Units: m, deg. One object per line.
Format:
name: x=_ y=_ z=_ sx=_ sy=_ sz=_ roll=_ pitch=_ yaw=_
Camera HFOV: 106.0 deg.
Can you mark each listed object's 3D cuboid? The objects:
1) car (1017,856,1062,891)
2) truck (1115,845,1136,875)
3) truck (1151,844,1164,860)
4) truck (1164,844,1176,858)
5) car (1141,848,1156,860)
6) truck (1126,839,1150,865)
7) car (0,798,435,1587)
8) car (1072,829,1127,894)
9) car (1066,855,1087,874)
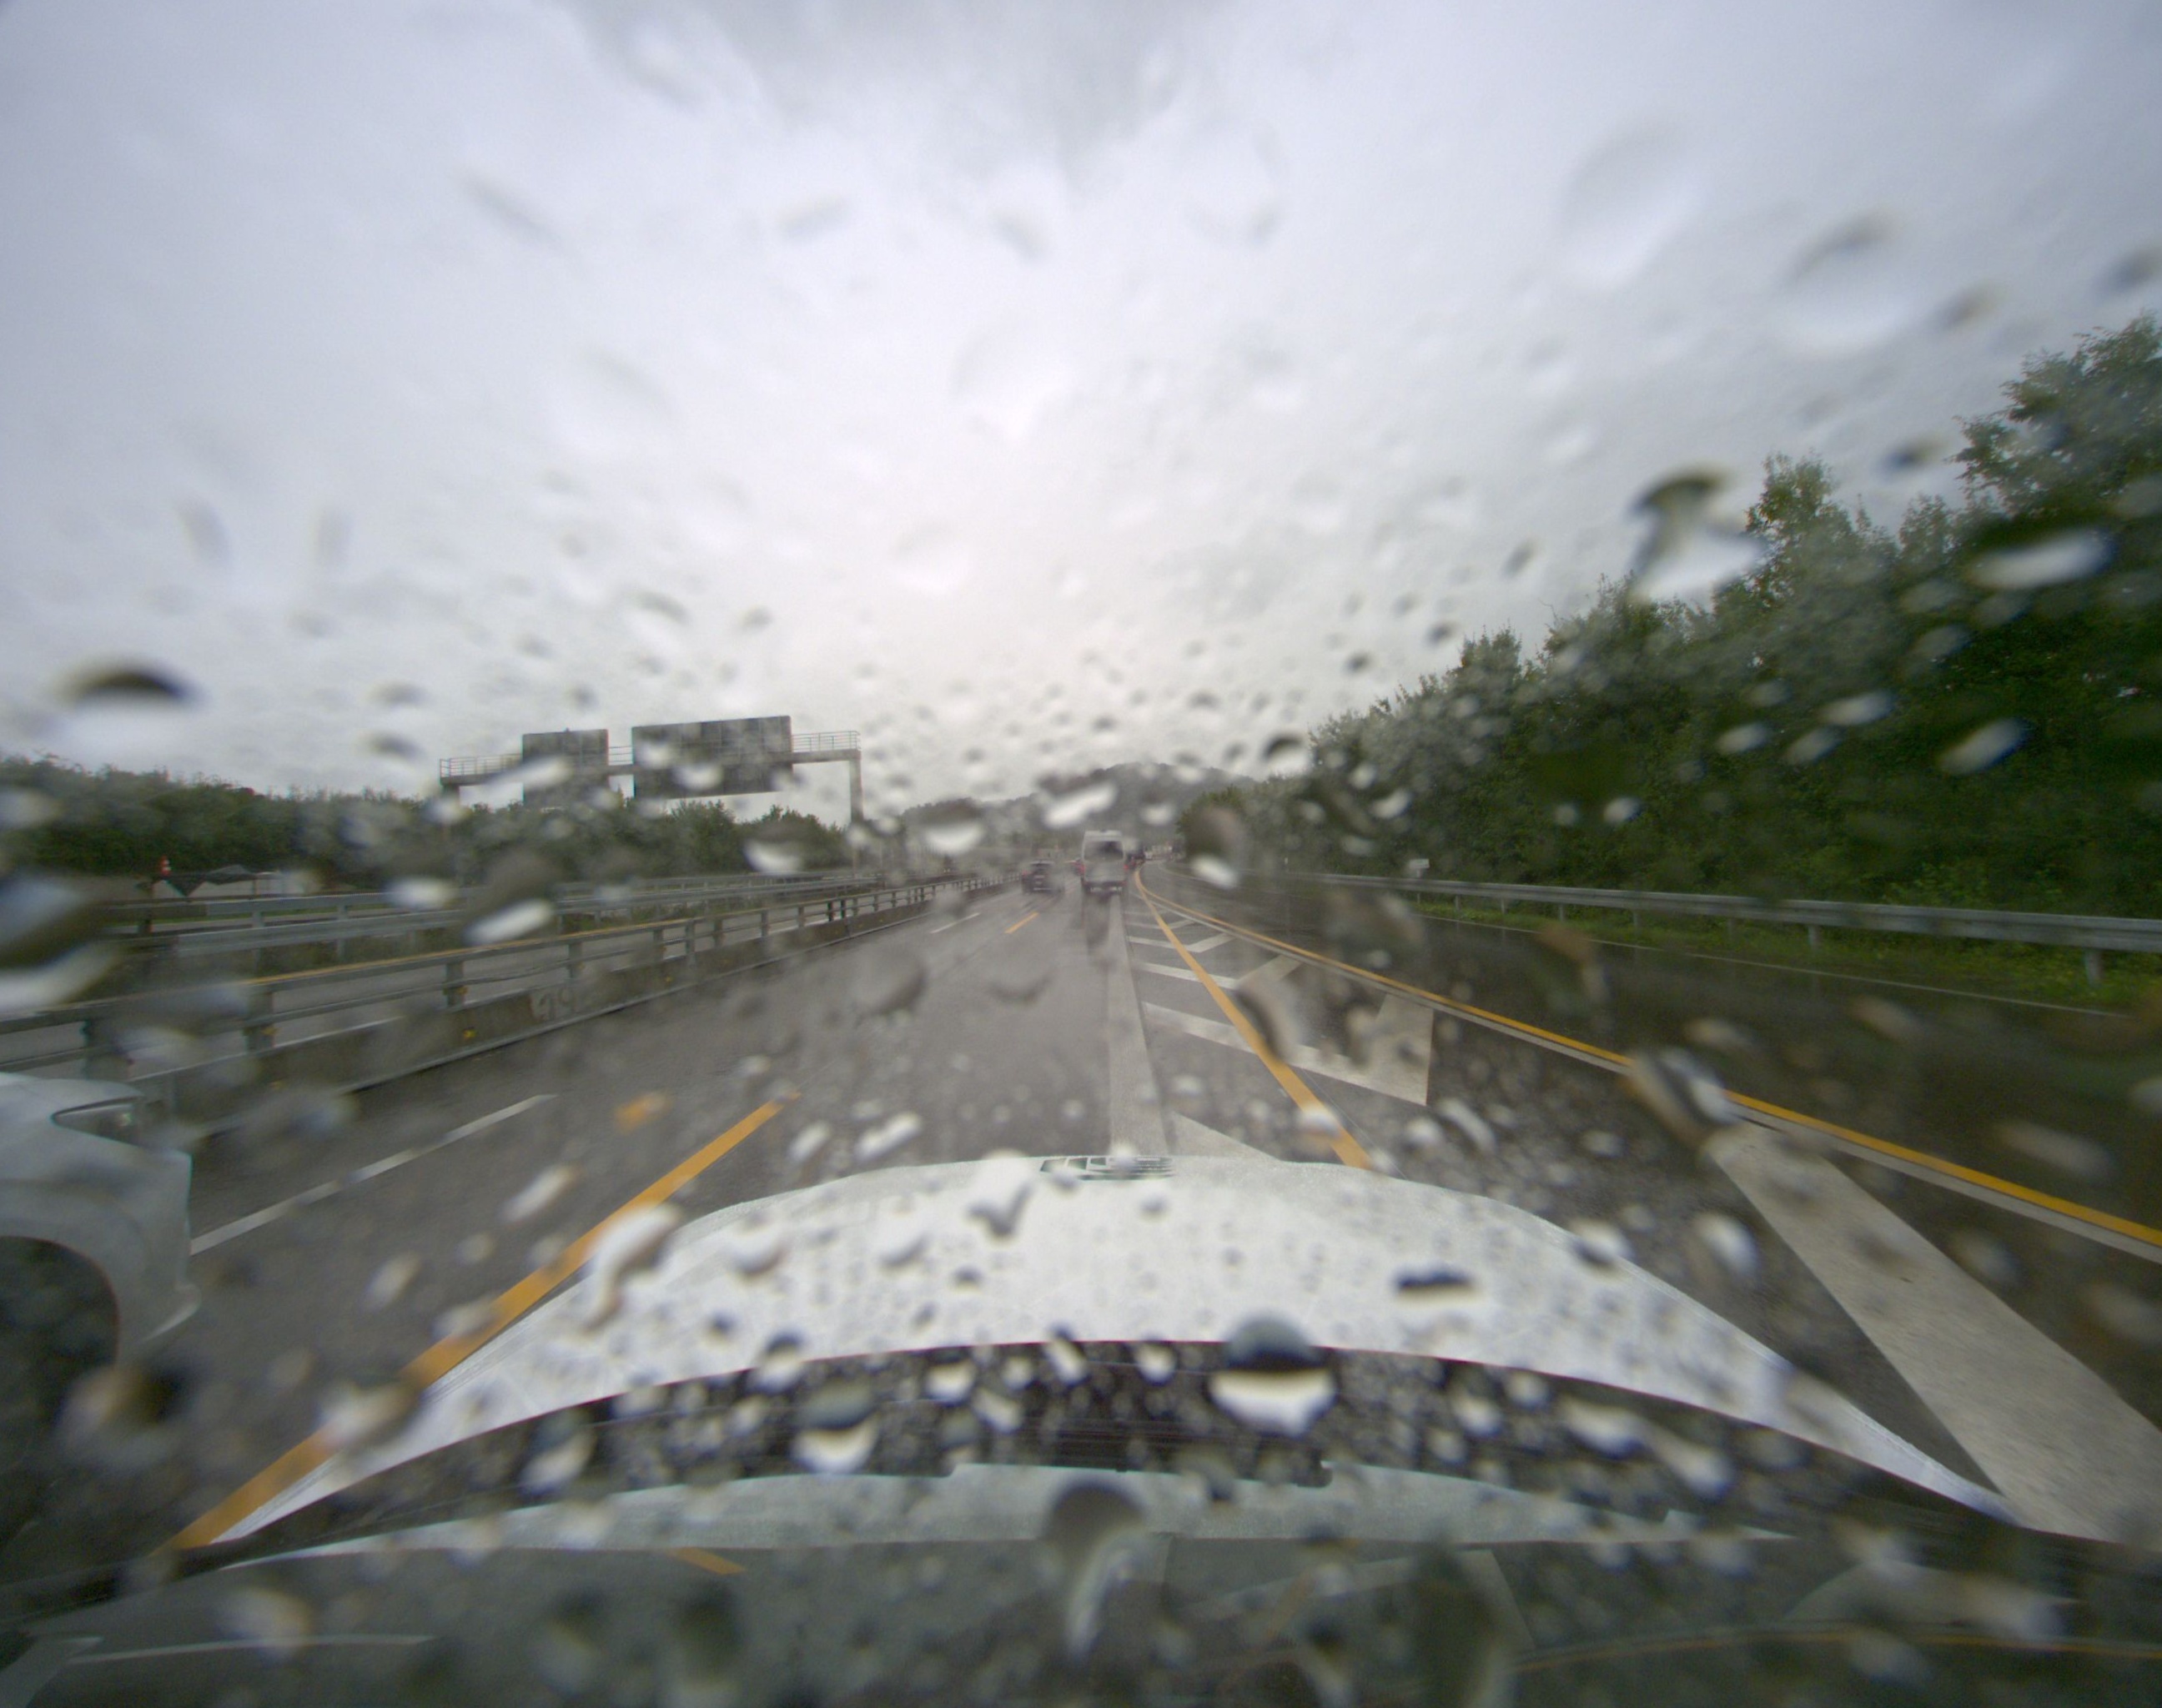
car: x=-1.898 y=0.885 z=38.328 sx=1.941 sy=1.561 sz=3.998 roll=-1 pitch=-1 yaw=-1
truck: x=4.963 y=0.665 z=89.411 sx=1.984 sy=3.109 sz=8.510 roll=-1 pitch=-1 yaw=5
truck: x=21.363 y=-0.445 z=226.665 sx=3.018 sy=4.406 sz=9.648 roll=-1 pitch=-1 yaw=9
truck: x=28.543 y=-0.845 z=261.773 sx=2.879 sy=4.406 sz=9.654 roll=-1 pitch=-1 yaw=12
car: x=15.628 y=0.037 z=187.900 sx=2.880 sy=2.887 sz=6.431 roll=-1 pitch=-1 yaw=11
truck: x=9.923 y=-0.271 z=141.530 sx=3.562 sy=4.406 sz=9.642 roll=-1 pitch=-1 yaw=7
car: x=-3.269 y=0.692 z=0.370 sx=1.986 sy=1.617 sz=4.799 roll=-1 pitch=-1 yaw=2
car: x=0.880 y=0.336 z=35.200 sx=2.136 sy=2.571 sz=5.393 roll=-1 pitch=-1 yaw=3
car: x=-0.350 y=0.953 z=72.035 sx=1.701 sy=1.627 sz=4.001 roll=-1 pitch=-1 yaw=1
